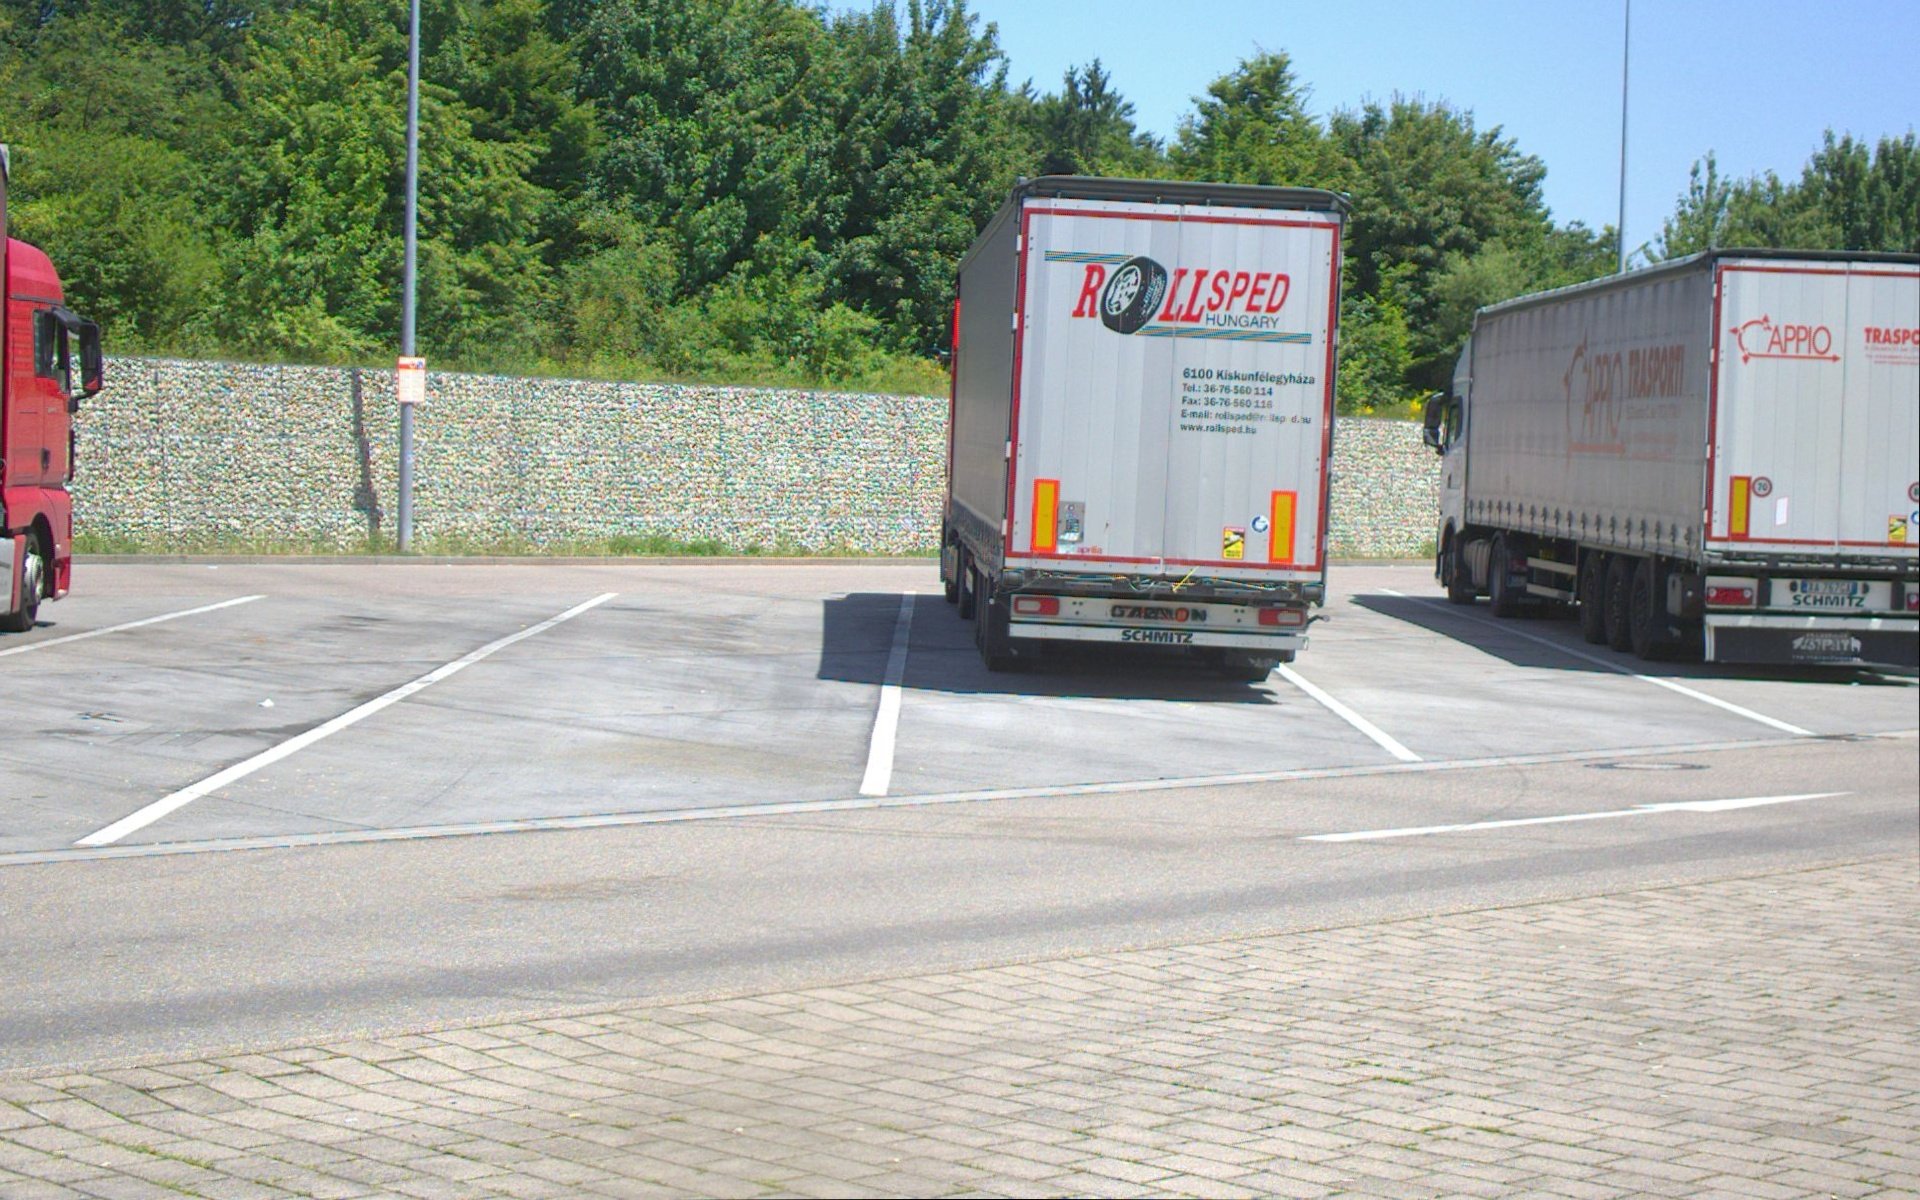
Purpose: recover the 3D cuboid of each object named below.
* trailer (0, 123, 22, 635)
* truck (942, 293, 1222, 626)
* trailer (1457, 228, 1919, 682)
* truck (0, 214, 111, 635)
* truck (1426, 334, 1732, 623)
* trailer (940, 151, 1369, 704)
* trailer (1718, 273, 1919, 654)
[{"bbox_3d":[-9.140,-1.490,21.313,2.906,4.118,13.725,2,3,-1],"label":"trailer"},{"bbox_3d":[1.299,-1.633,39.821,2.852,3.472,5.483,2,2,-1],"label":"truck"},{"bbox_3d":[8.164,-1.633,38.697,2.838,4.118,13.724,2,3,-1],"label":"trailer"},{"bbox_3d":[-9.230,-1.506,28.752,2.852,3.416,5.483,2,2,-1],"label":"truck"},{"bbox_3d":[8.072,-1.631,45.510,2.852,3.472,5.483,2,2,-1],"label":"truck"},{"bbox_3d":[1.447,-1.625,33.208,2.906,4.118,13.725,2,3,-1],"label":"trailer"},{"bbox_3d":[11.801,-1.536,39.449,2.838,4.118,13.724,2,3,-1],"label":"trailer"}]
